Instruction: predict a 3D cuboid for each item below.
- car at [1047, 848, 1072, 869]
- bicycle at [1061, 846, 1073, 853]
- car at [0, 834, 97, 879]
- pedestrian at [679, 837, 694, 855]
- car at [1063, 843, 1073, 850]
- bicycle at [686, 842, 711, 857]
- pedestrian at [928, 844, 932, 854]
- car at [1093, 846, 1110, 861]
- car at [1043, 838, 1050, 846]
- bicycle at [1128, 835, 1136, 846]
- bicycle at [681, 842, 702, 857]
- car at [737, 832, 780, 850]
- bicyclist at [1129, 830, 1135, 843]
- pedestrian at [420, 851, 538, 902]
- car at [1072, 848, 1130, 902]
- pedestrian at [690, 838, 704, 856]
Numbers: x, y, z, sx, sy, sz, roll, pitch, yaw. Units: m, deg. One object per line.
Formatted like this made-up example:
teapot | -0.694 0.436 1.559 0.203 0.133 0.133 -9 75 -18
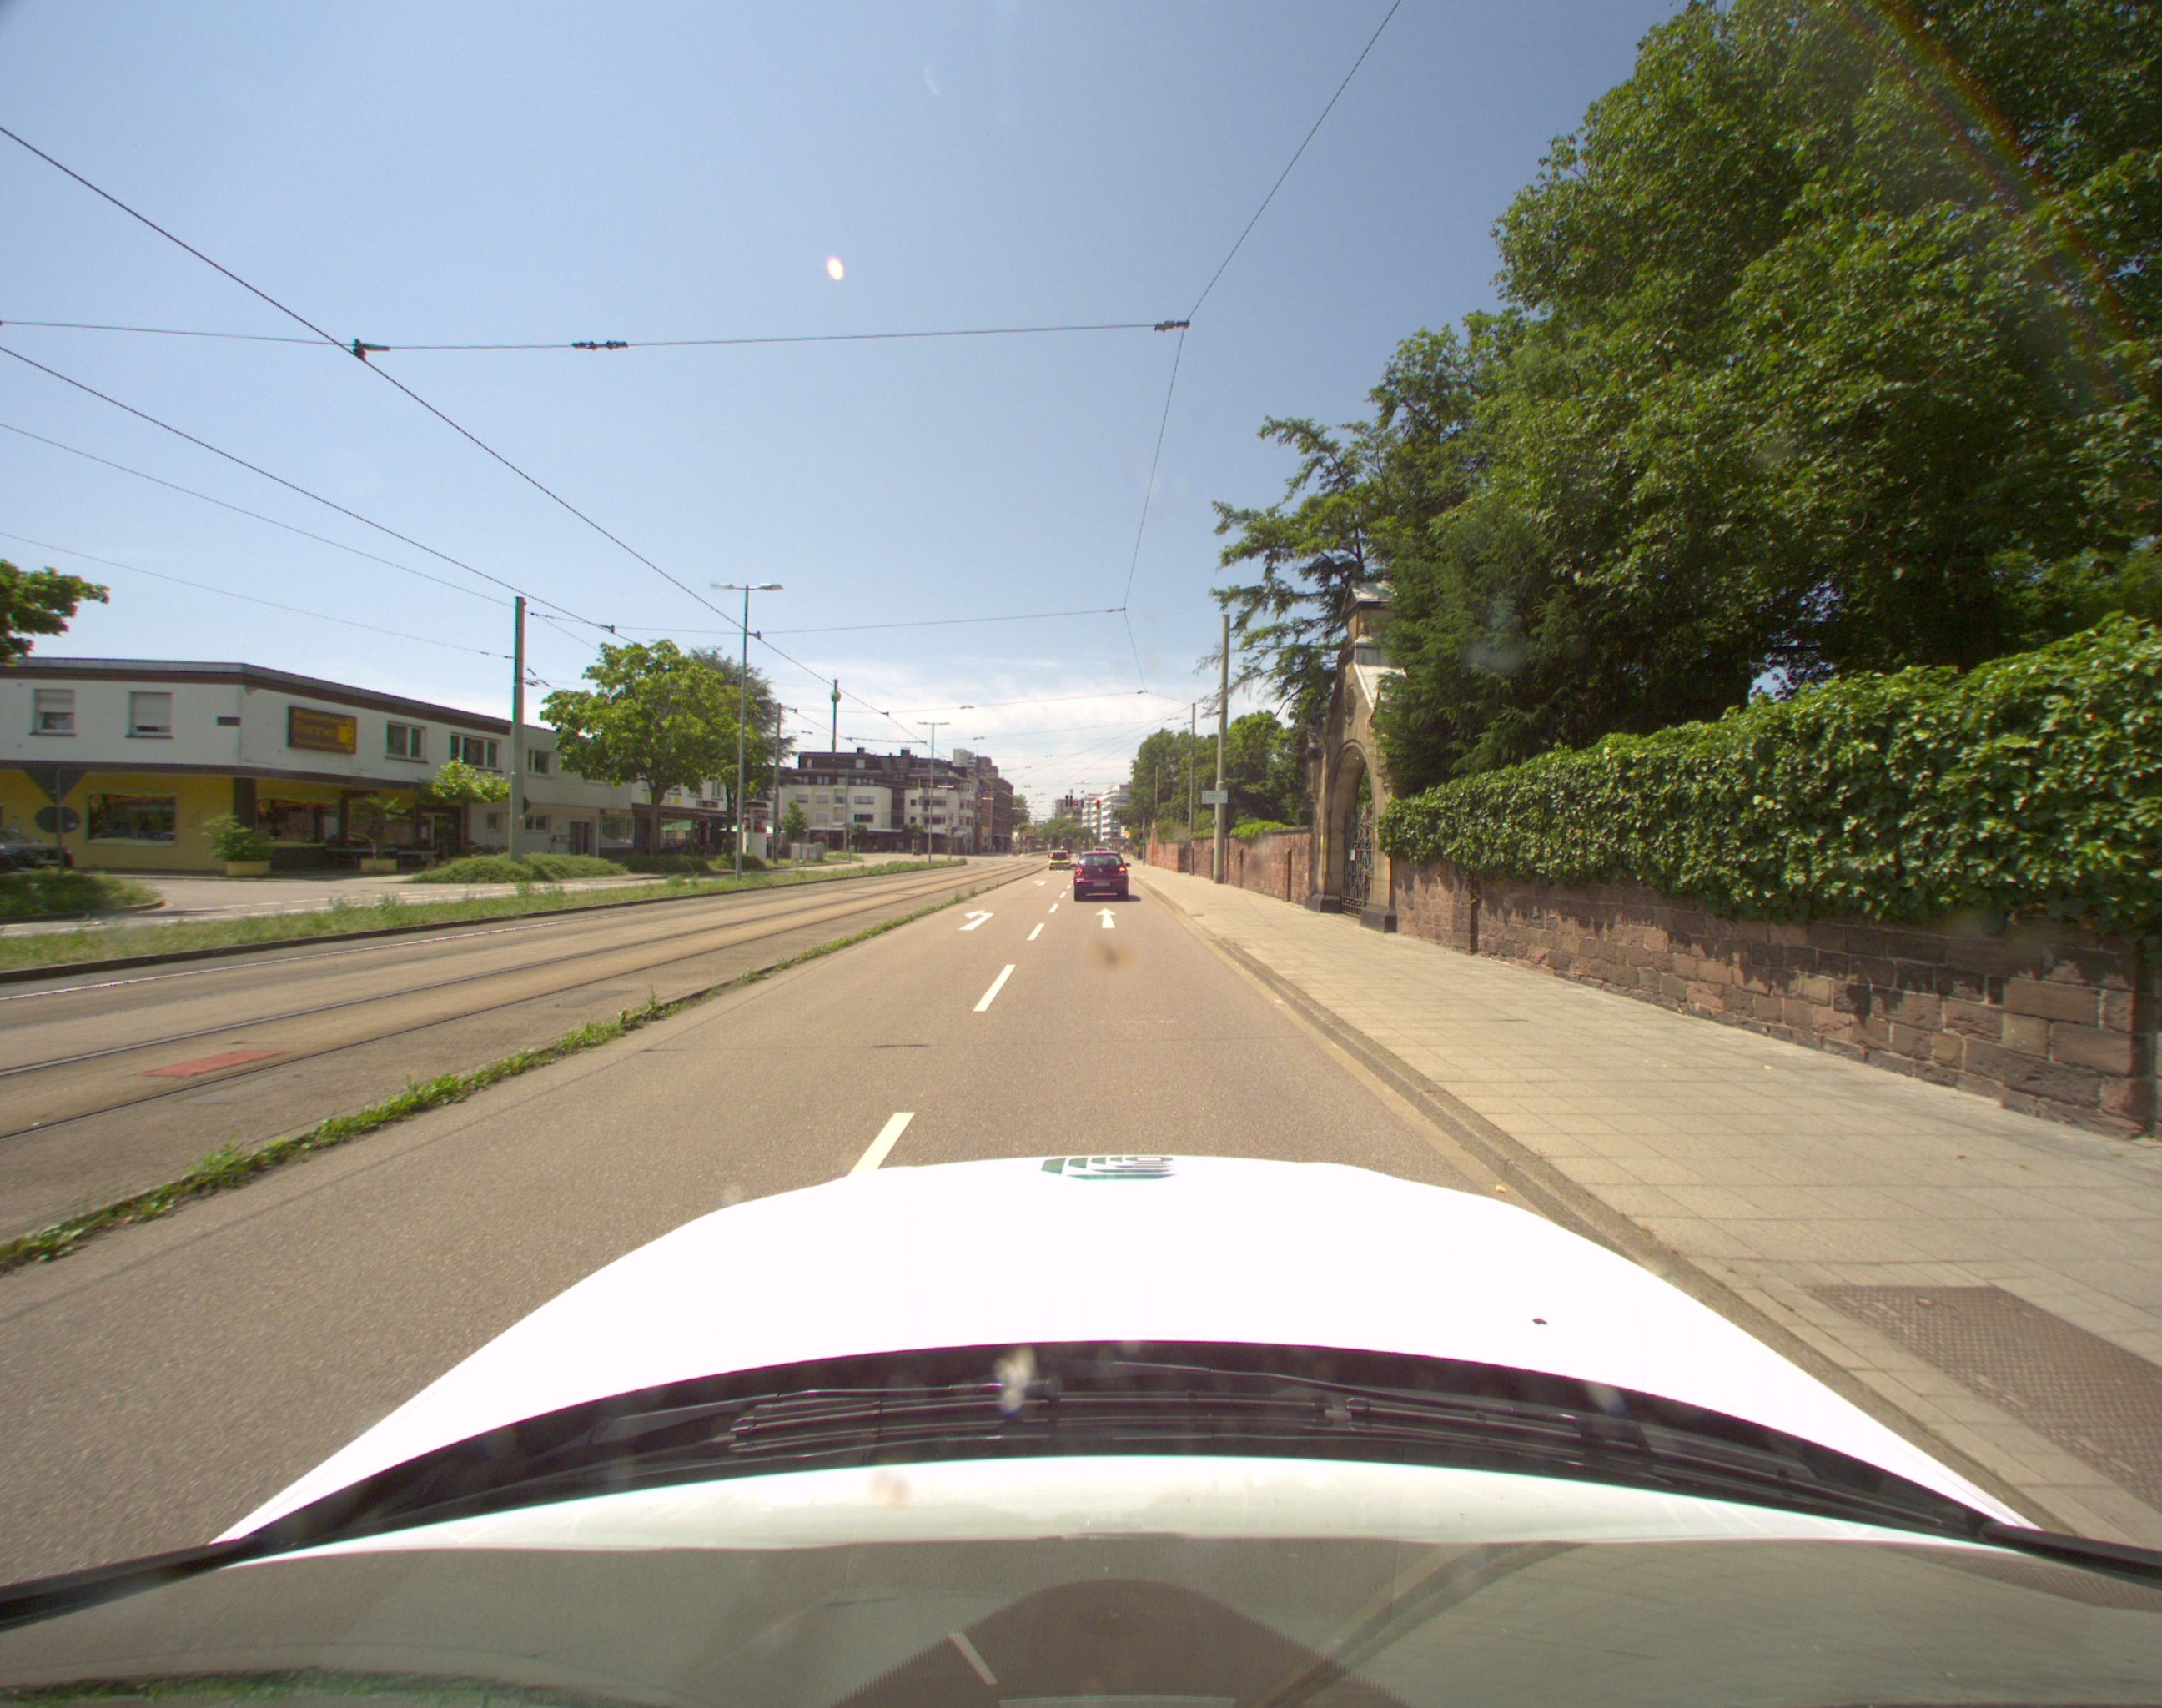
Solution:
car | -1.642 0.336 62.399 1.717 1.444 3.293 -1 1 1
bicycle | -2.139 -0.714 127.511 1.861 1.008 0.578 0 0 -4
car | -33.072 0.045 24.920 3.970 1.297 1.683 1 1 3
pedestrian | -28.498 -0.583 58.831 0.587 1.268 0.842 0 0 1
car | -2.843 -1.589 174.414 1.931 1.641 4.001 0 0 1
bicycle | -24.954 -0.301 53.163 0.608 0.979 2.030 0 0 1
pedestrian | -23.069 -0.814 124.236 0.480 1.541 0.540 -1 0 12
car | 1.950 -0.047 79.095 1.567 1.415 3.721 -1 1 1
car | -8.970 -3.198 211.851 1.728 2.013 4.002 1 1 1
bicycle | 6.959 -1.843 111.462 0.832 1.525 4.001 0 0 2
bicycle | -26.178 -0.290 54.772 0.536 0.979 1.759 0 0 1
car | -44.353 -1.773 112.141 5.048 2.341 2.244 0 0 -1
bicyclist | 6.932 -2.407 111.030 0.719 1.818 0.889 0 0 1
pedestrian | -25.559 0.908 34.765 1.987 2.013 4.000 0 0 1
car | 0.611 0.591 25.338 1.604 1.463 4.086 -1 1 1
pedestrian | -27.784 -0.493 58.985 0.587 1.268 0.842 0 0 1
